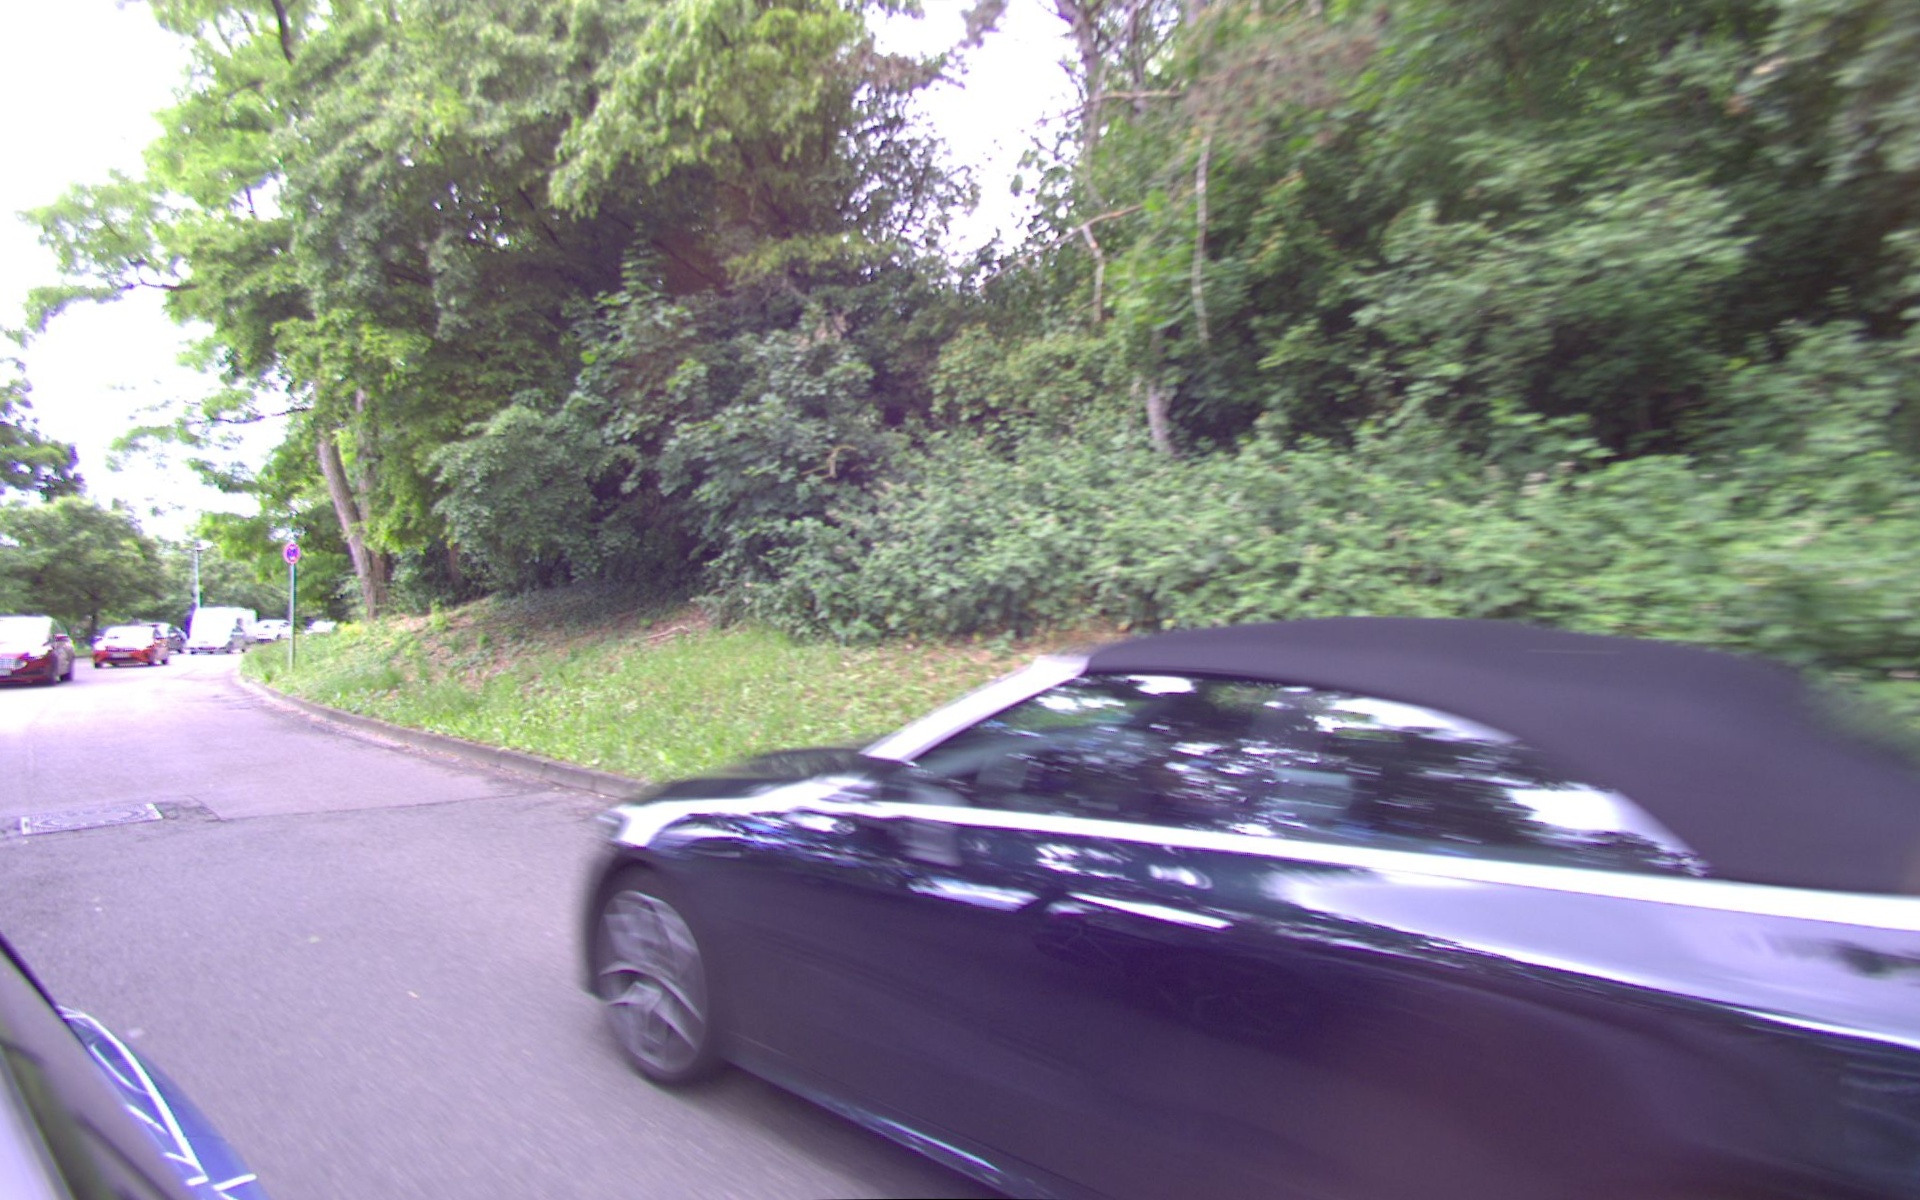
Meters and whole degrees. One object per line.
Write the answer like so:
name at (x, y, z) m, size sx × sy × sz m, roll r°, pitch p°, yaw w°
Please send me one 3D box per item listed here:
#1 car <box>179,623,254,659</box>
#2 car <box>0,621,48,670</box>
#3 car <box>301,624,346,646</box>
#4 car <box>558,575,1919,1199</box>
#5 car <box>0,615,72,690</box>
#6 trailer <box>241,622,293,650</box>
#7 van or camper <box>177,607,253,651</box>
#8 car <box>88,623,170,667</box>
car at (-39.467, 2.133, 53.819) m, size 1.891 × 1.694 × 4.012 m, roll 0°, pitch 0°, yaw -15°
car at (-33.413, 1.589, 35.059) m, size 1.876 × 1.487 × 4.071 m, roll -2°, pitch 2°, yaw -30°
car at (-44.907, 2.477, 71.476) m, size 1.774 × 1.501 × 4.012 m, roll 0°, pitch -1°, yaw -18°
car at (0.984, 0.668, 2.526) m, size 4.488 × 1.399 × 1.773 m, roll 0°, pitch 2°, yaw 40°
car at (-22.807, 1.227, 24.239) m, size 1.968 × 1.641 × 4.635 m, roll -2°, pitch 0°, yaw -38°
trailer at (-48.982, 2.518, 71.636) m, size 1.748 × 1.744 × 4.664 m, roll 1°, pitch 0°, yaw -17°
van or camper at (-46.158, 1.762, 62.858) m, size 2.131 × 2.555 × 6.050 m, roll 0°, pitch -1°, yaw -19°
car at (-29.997, 1.594, 36.649) m, size 1.837 × 1.460 × 4.187 m, roll 0°, pitch -1°, yaw -33°
